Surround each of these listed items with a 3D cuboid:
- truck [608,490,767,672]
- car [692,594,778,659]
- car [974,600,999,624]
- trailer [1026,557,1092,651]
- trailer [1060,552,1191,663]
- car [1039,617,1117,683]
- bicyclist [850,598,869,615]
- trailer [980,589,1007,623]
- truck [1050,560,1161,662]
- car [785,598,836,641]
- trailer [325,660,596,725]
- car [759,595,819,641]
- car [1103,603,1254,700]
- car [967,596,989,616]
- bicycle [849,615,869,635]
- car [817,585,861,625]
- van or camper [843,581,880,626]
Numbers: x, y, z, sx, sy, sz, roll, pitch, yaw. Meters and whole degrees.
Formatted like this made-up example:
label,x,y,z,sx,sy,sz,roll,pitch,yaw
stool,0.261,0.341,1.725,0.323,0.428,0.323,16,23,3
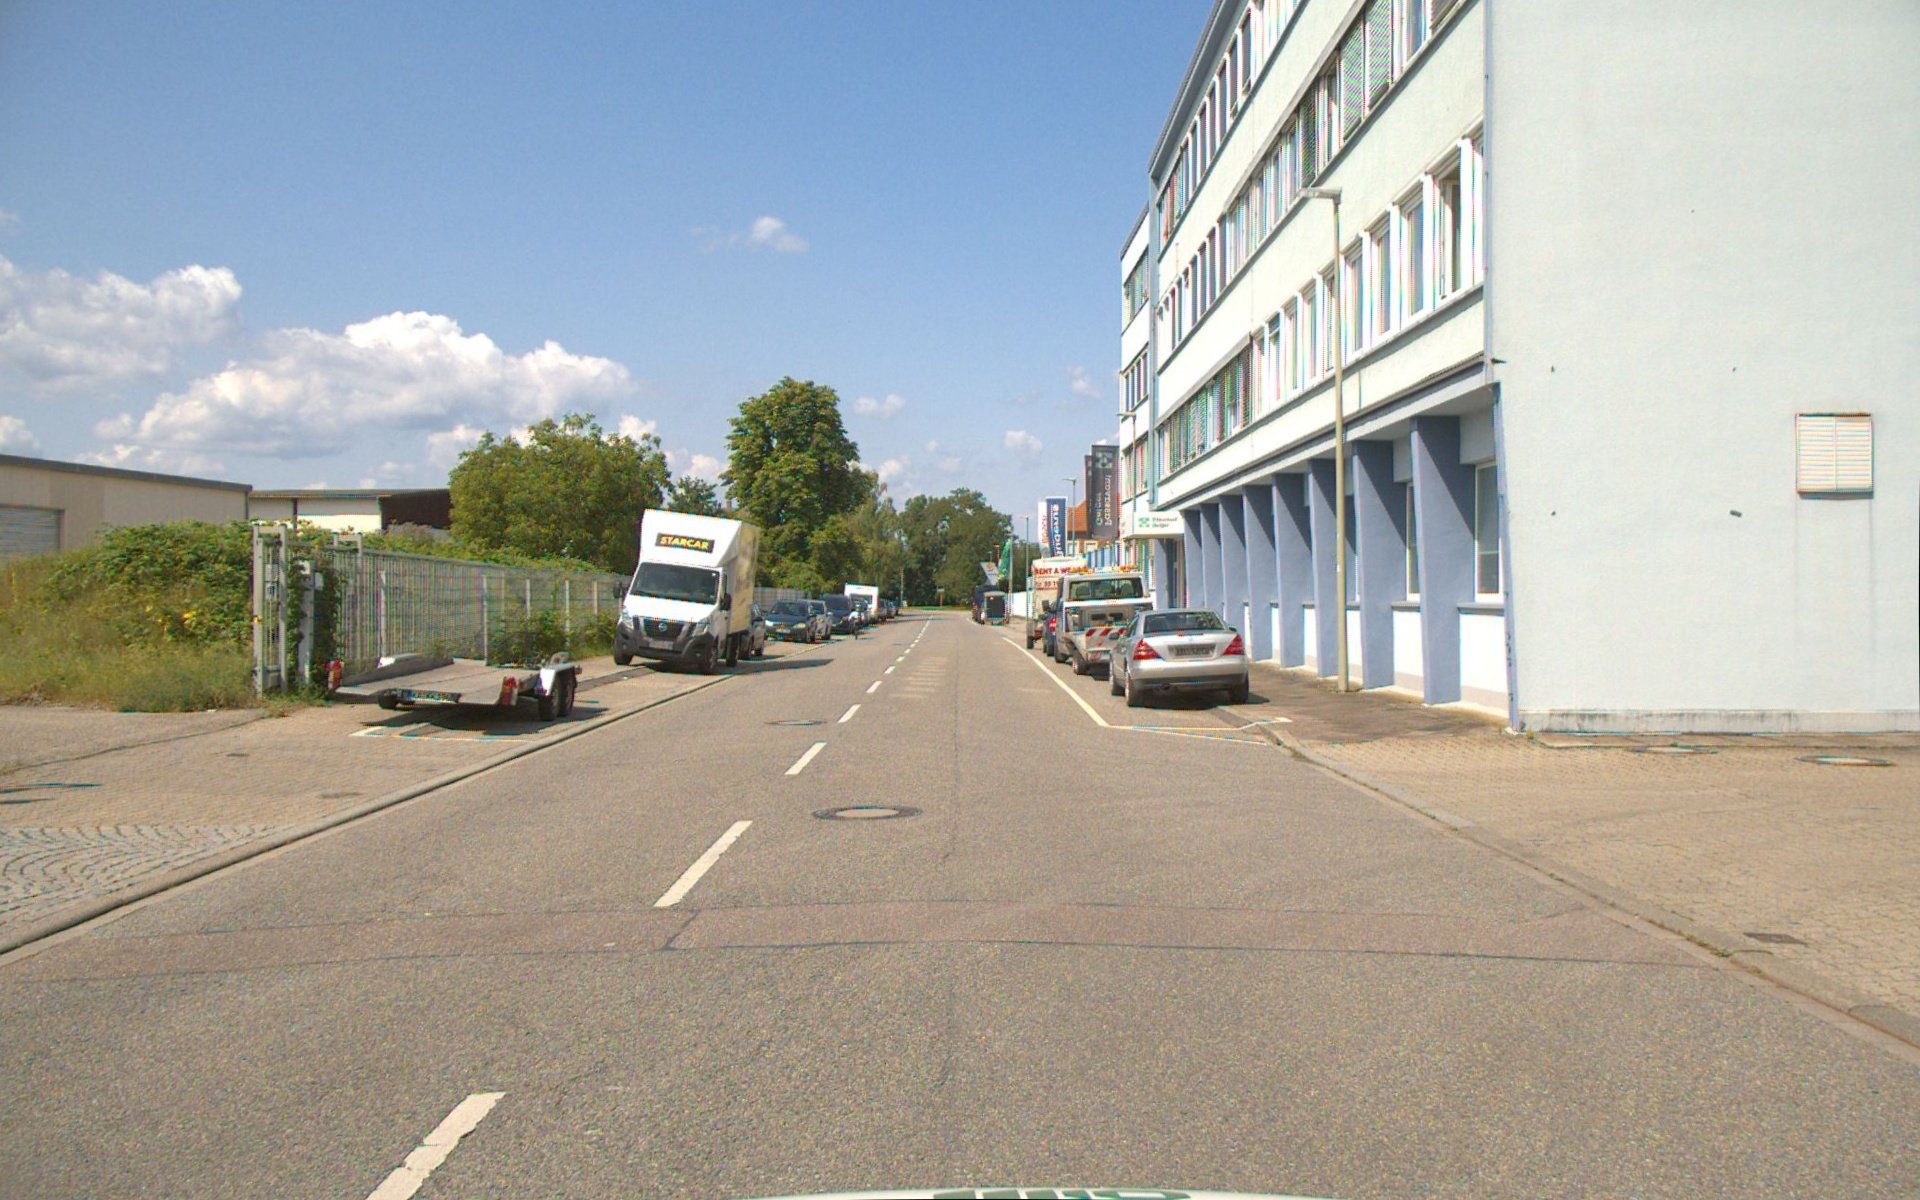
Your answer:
label,x,y,z,sx,sy,sz,roll,pitch,yaw
truck,-5.788,-0.387,36.115,2.205,3.420,6.905,5,0,-1
car,-5.851,0.675,43.350,1.587,1.454,3.826,6,0,0
car,1.768,0.805,110.238,1.540,1.534,4.131,0,0,-1
trailer,2.859,0.114,48.604,1.830,2.598,5.073,0,0,2
trailer,3.159,0.143,32.715,1.933,2.005,5.765,0,0,-1
car,2.987,1.250,42.759,1.683,1.569,4.403,1,-1,0
bicyclist,-3.891,0.235,64.317,0.554,0.642,1.858,1,0,2
trailer,2.095,0.386,104.060,1.569,2.073,2.740,1,-1,-1
truck,3.082,0.226,36.018,1.924,2.071,4.733,0,0,-1
car,-5.672,0.735,62.944,1.582,1.509,3.709,2,0,-1
trailer,-6.173,1.138,21.050,2.190,0.562,4.443,0,0,-1
car,-5.944,0.621,57.891,1.537,1.423,3.799,5,0,1
car,3.080,0.685,23.984,1.613,1.268,3.999,0,0,-1
car,1.526,0.487,139.986,1.787,1.694,4.555,0,0,0
bicycle,-3.913,0.961,64.325,0.575,0.754,2.125,0,0,2
car,-5.537,0.242,76.141,1.764,1.780,4.712,0,0,-1
van or camper,-6.816,0.257,114.705,2.217,2.852,6.830,4,-1,-2
